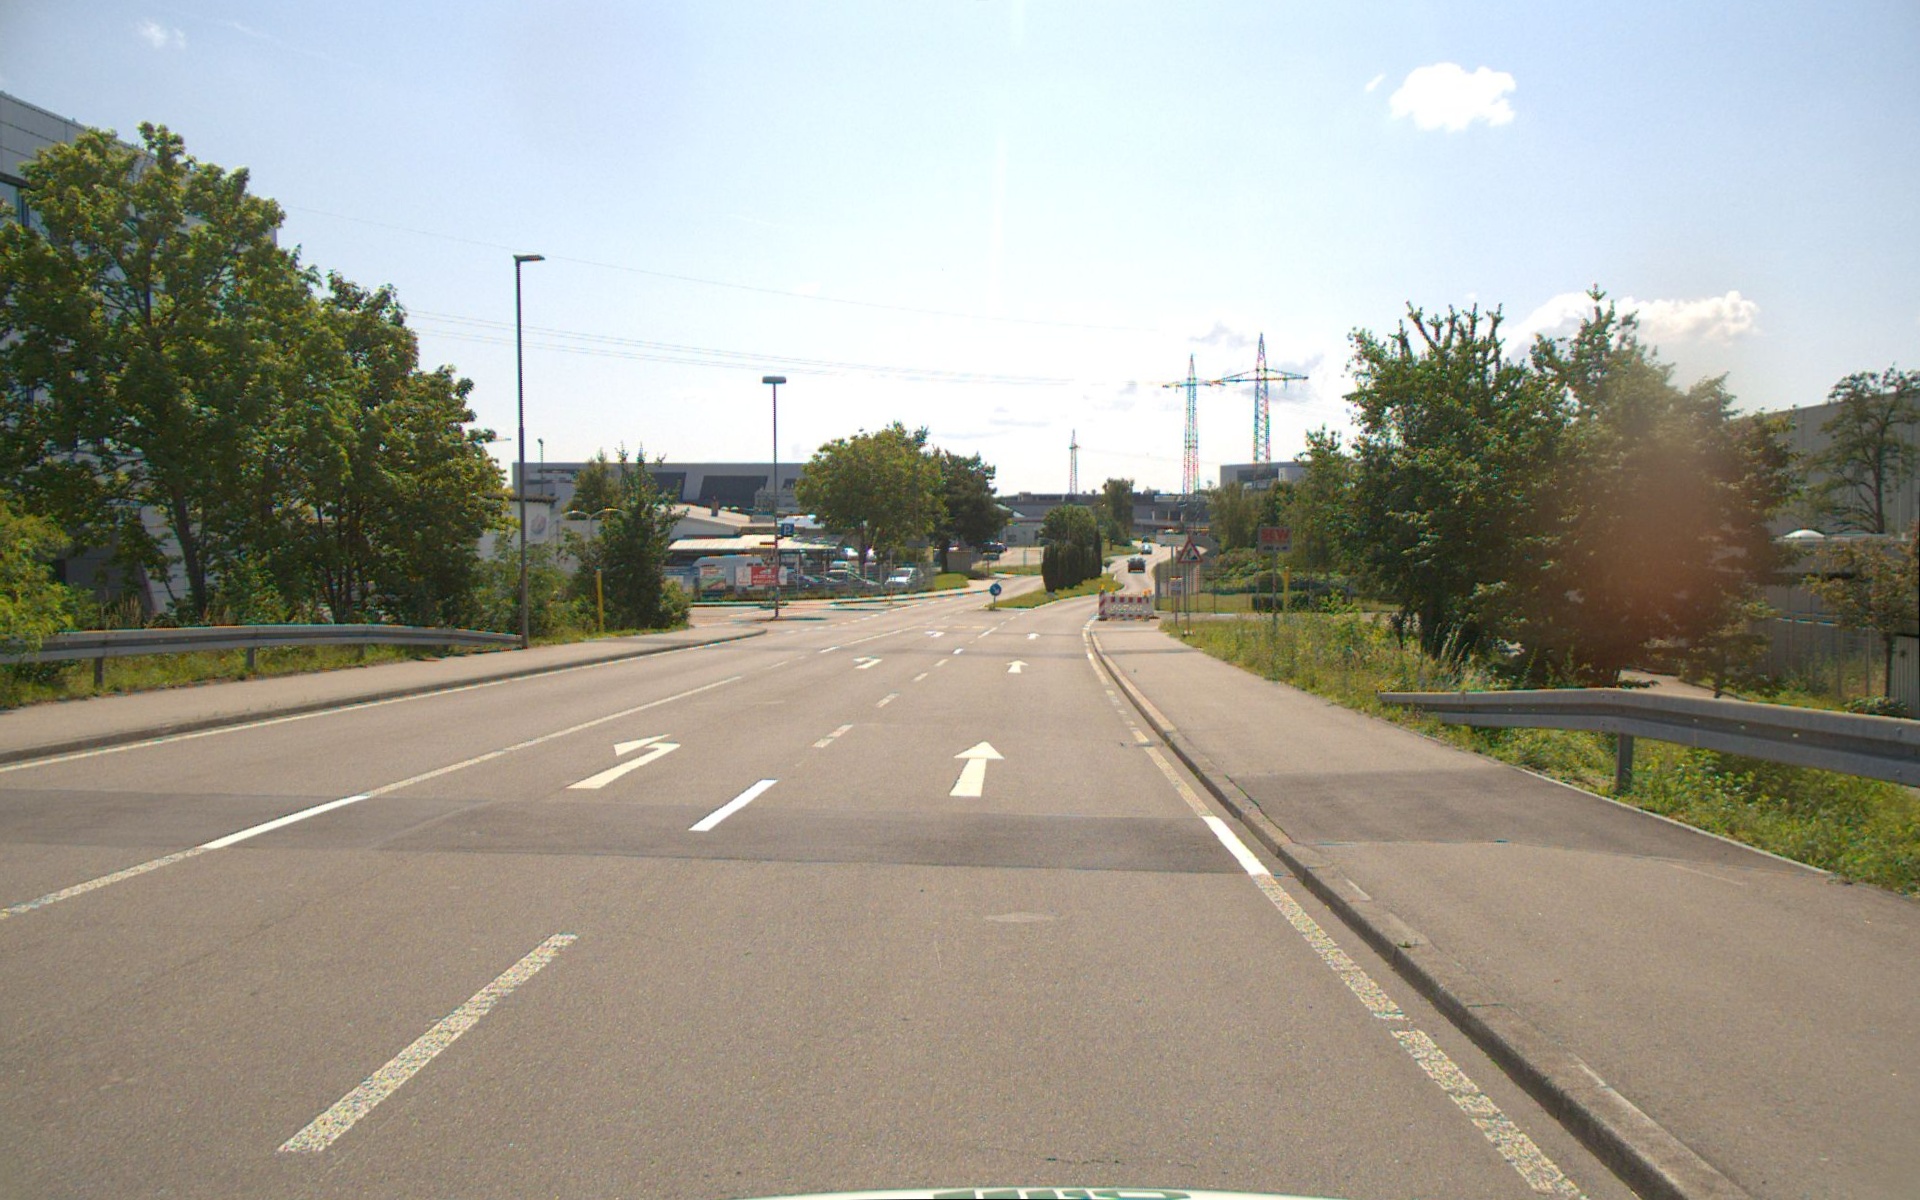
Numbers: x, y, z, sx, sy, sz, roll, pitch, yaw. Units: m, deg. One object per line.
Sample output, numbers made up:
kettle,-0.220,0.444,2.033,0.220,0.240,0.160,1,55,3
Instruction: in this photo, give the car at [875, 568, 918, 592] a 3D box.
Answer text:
car,-4.262,-1.369,111.672,1.790,1.544,3.590,1,2,18

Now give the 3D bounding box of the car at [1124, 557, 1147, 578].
car,17.986,-3.361,169.917,2.224,1.980,4.670,3,3,6

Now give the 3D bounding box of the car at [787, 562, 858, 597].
car,-8.331,-1.283,100.093,3.914,1.936,1.996,2,3,31

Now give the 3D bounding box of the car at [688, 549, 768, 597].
car,-13.250,-1.535,94.478,4.273,2.654,1.995,1,1,32

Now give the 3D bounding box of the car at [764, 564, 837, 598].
car,-9.481,-1.144,98.134,3.914,1.811,1.996,2,3,31

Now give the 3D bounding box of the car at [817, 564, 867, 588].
car,-9.478,-1.930,132.550,3.911,1.882,1.832,0,1,-7
